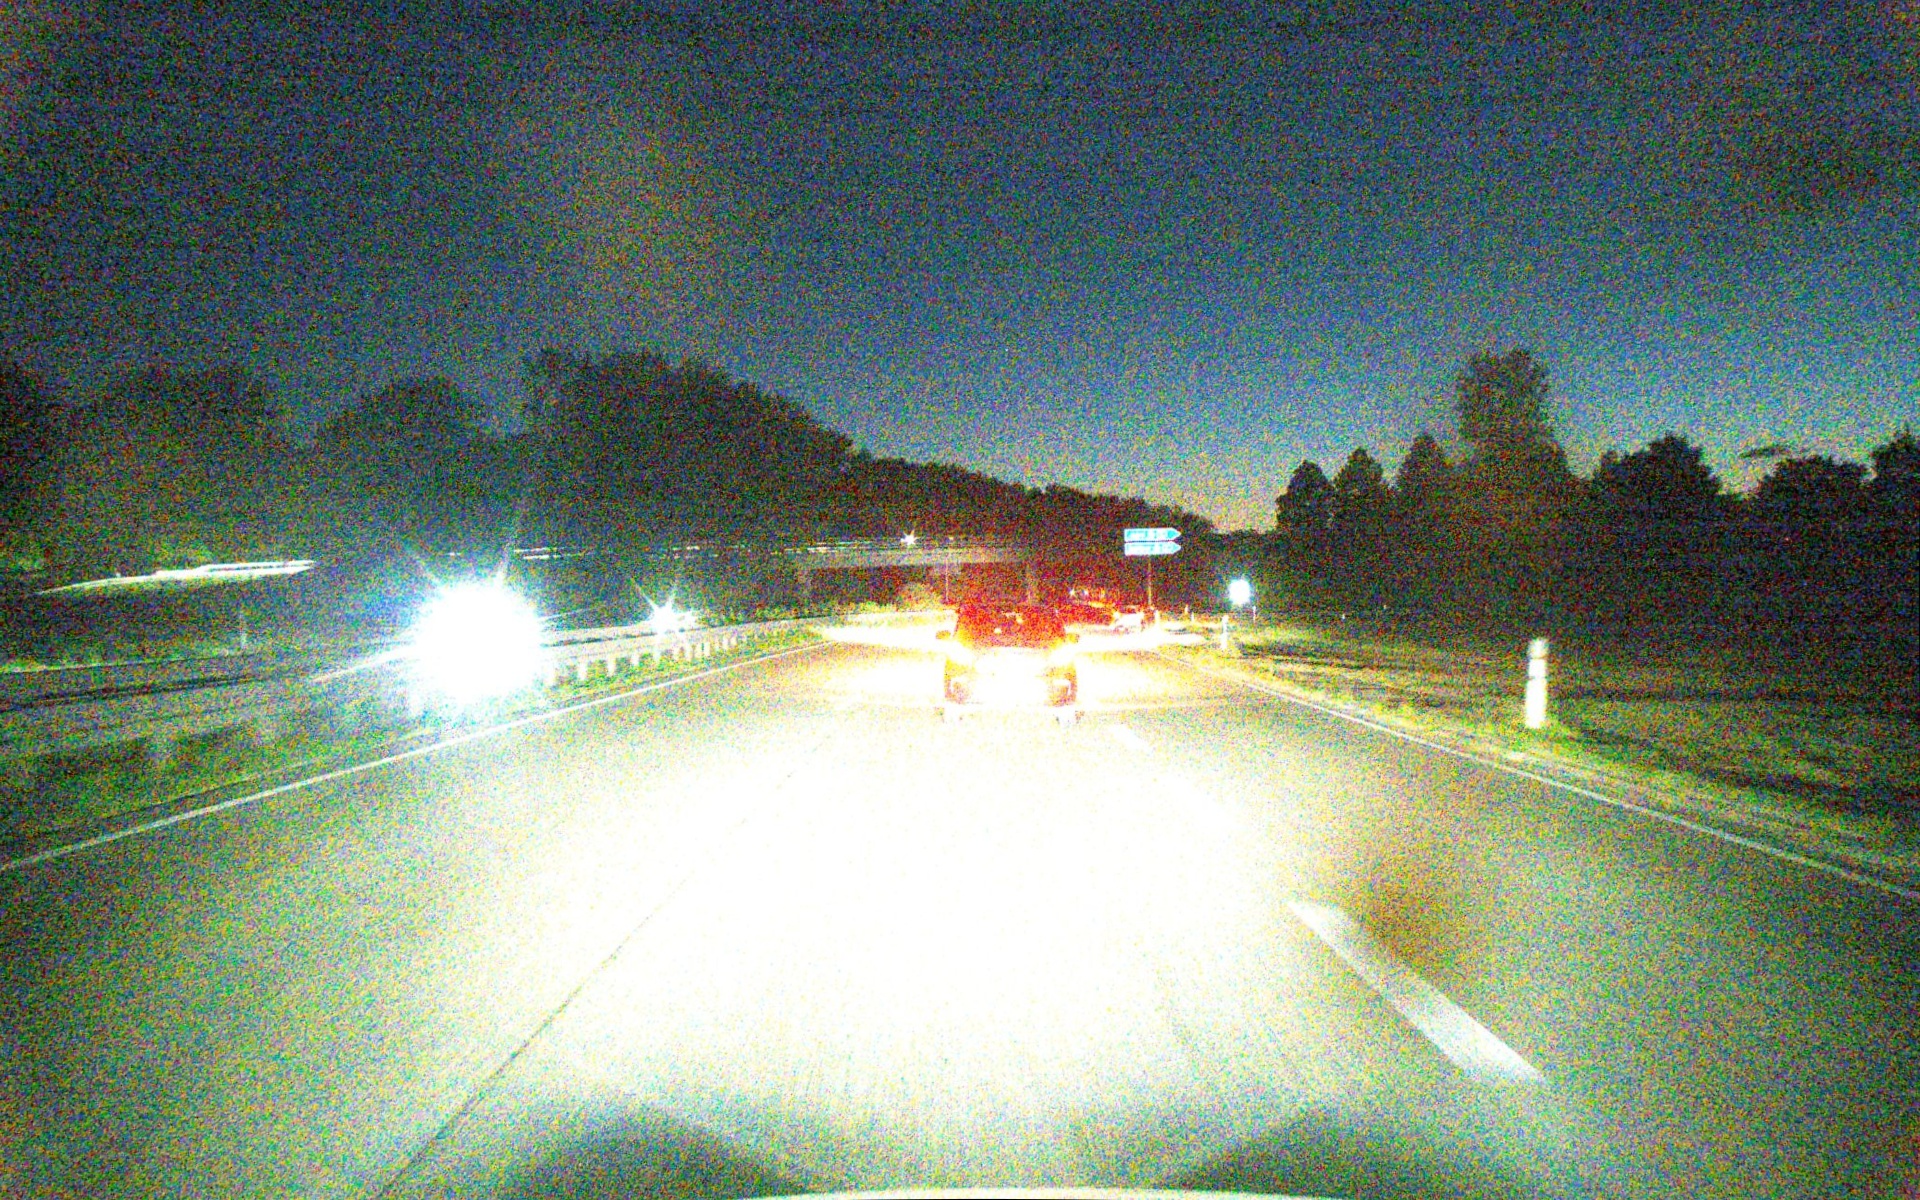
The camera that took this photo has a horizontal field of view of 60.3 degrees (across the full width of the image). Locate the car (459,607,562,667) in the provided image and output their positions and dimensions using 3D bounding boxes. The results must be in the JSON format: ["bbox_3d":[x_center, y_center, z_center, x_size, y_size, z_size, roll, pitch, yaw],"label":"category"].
[{"bbox_3d":[-13.698,1.103,50.669,1.952,1.713,4.001,0,0,2],"label":"car"}]

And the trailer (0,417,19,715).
[{"bbox_3d":[-15.034,-0.450,17.033,2.621,4.222,13.747,0,0,1],"label":"trailer"}]

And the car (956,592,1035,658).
[{"bbox_3d":[0.884,0.619,43.807,1.901,1.636,4.642,0,0,-1],"label":"car"}]

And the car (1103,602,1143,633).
[{"bbox_3d":[8.973,0.964,90.997,1.698,1.646,3.797,0,0,-2],"label":"car"}]

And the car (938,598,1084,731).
[{"bbox_3d":[0.566,0.747,20.889,1.657,1.503,3.999,0,0,-1],"label":"car"}]
